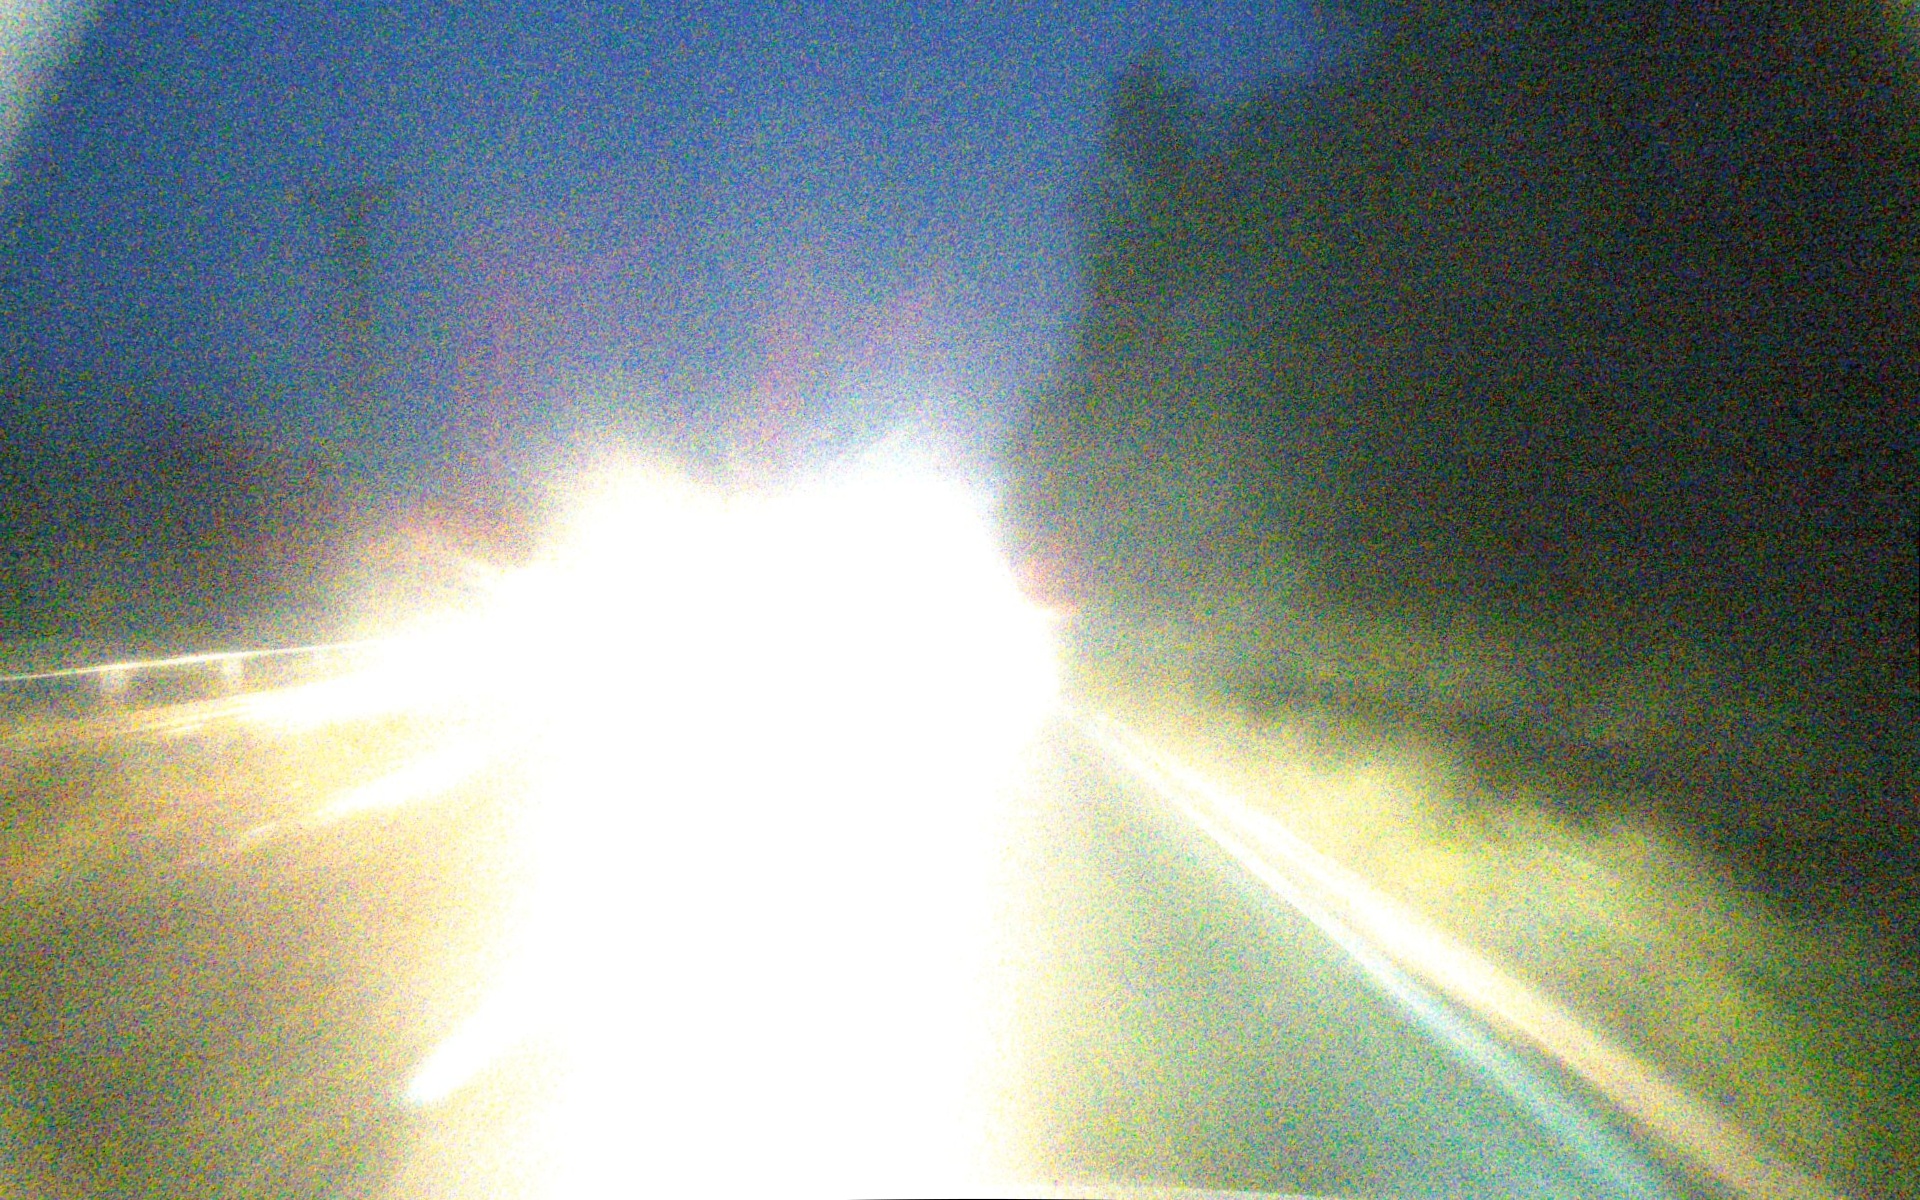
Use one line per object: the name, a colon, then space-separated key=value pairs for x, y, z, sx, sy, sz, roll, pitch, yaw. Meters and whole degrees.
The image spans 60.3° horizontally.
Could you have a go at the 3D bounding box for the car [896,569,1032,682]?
car: x=0.072 y=0.461 z=32.514 sx=2.407 sy=1.993 sz=4.911 roll=1 pitch=0 yaw=0

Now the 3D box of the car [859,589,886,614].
car: x=-6.046 y=0.106 z=115.003 sx=1.768 sy=1.656 sz=4.405 roll=-1 pitch=0 yaw=-2

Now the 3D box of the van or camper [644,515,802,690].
van or camper: x=-3.929 y=0.020 z=28.419 sx=2.081 sy=2.610 sz=5.780 roll=-2 pitch=0 yaw=-3
